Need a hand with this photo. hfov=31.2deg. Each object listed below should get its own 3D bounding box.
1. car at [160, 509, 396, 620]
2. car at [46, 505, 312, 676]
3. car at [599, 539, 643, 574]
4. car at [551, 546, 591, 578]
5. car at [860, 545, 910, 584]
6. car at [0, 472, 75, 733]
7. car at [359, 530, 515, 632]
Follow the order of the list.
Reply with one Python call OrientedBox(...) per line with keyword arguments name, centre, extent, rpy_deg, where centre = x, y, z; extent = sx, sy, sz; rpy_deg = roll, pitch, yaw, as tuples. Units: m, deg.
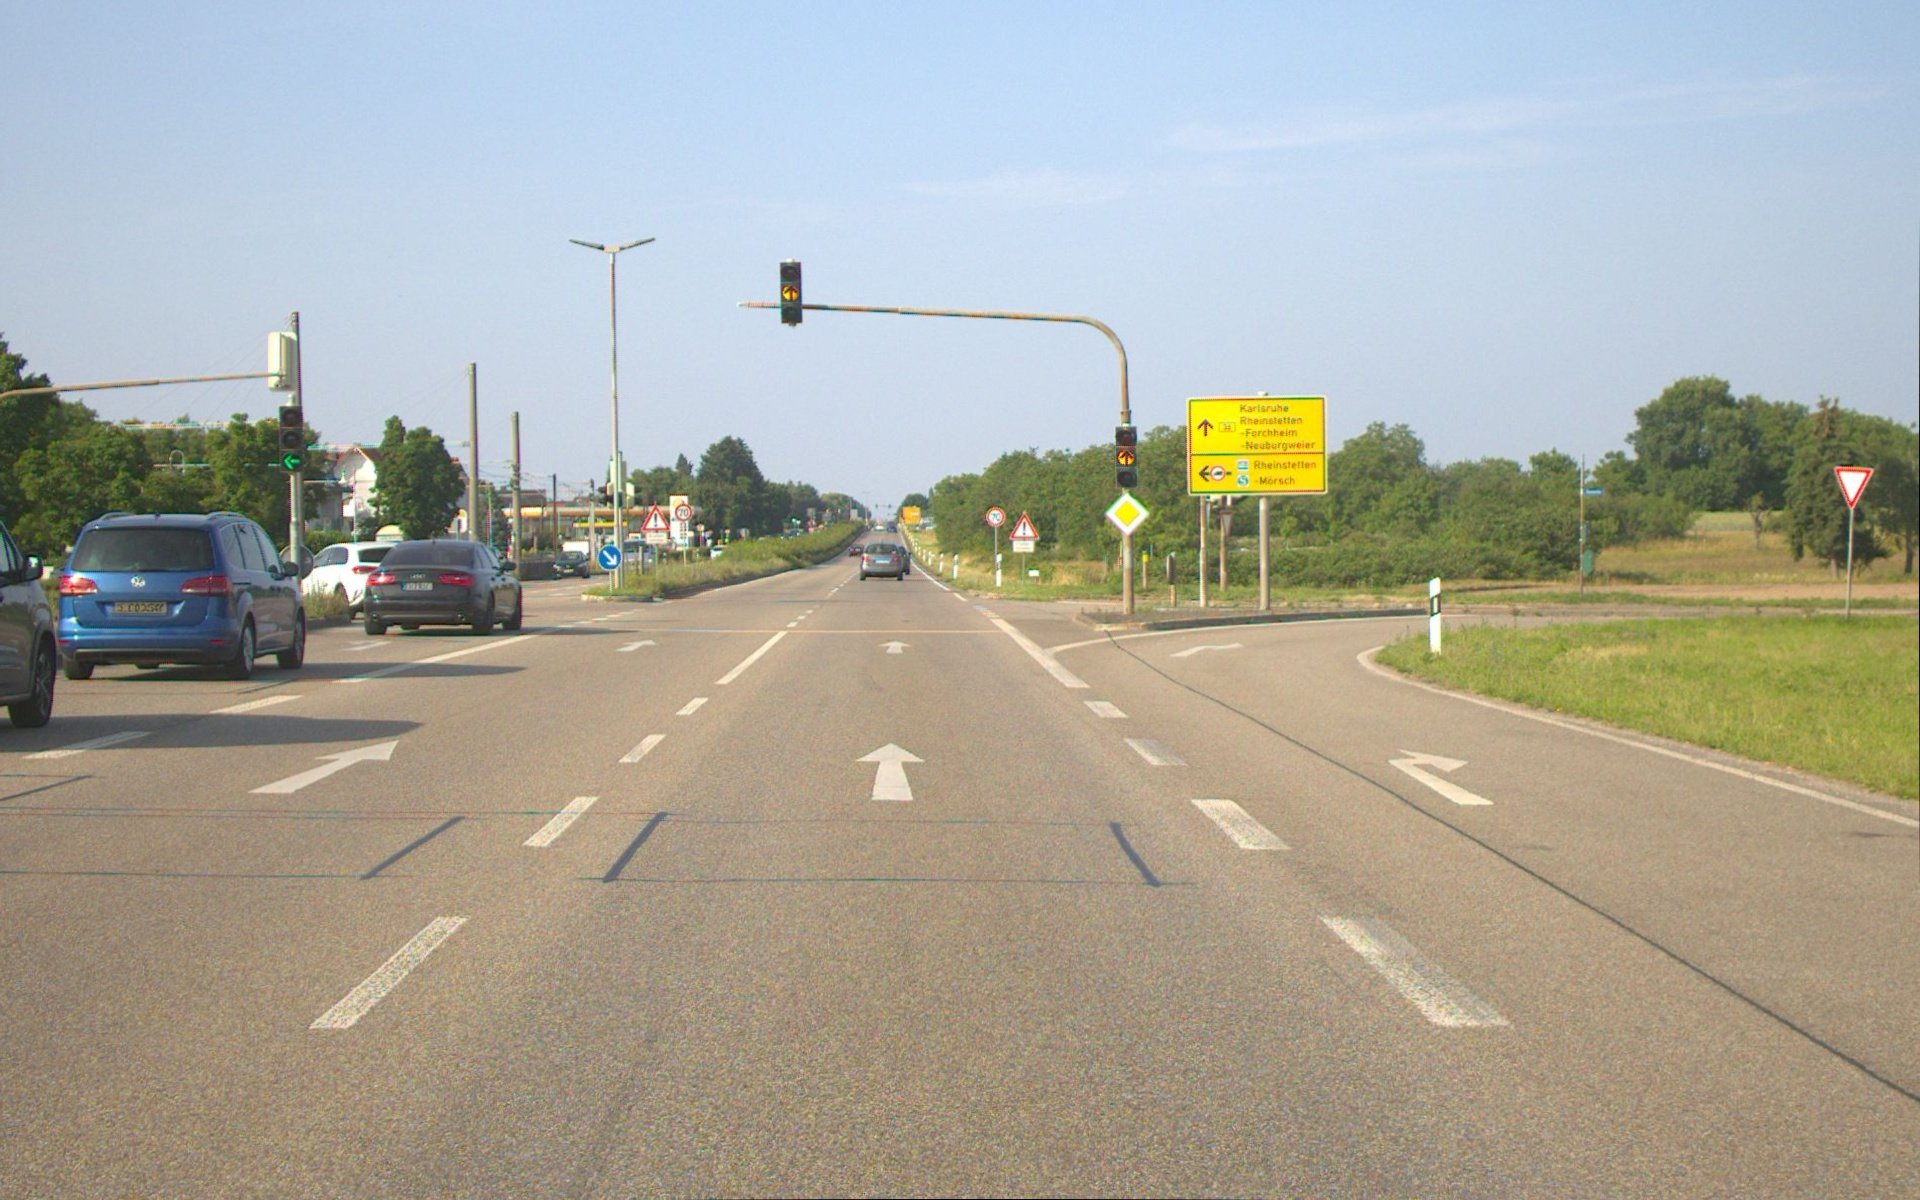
OrientedBox(name="car", centre=(-12.584, -0.671, 63.449), extent=(3.993, 2.007, 1.832), rpy_deg=(0, 1, 27))
OrientedBox(name="car", centre=(-8.068, -0.140, 35.898), extent=(1.770, 1.673, 4.520), rpy_deg=(0, 1, 0))
OrientedBox(name="car", centre=(-16.672, -2.141, 169.027), extent=(1.799, 1.617, 3.622), rpy_deg=(1, 0, 0))
OrientedBox(name="car", centre=(-20.117, -1.972, 177.949), extent=(1.688, 1.656, 3.758), rpy_deg=(0, 1, 0))
OrientedBox(name="car", centre=(-3.103, -1.483, 142.331), extent=(1.993, 1.546, 4.000), rpy_deg=(0, 1, 0))
OrientedBox(name="car", centre=(-7.665, 0.024, 24.182), extent=(1.732, 1.849, 4.520), rpy_deg=(0, 1, 0))
OrientedBox(name="car", centre=(-7.866, -0.315, 52.024), extent=(1.770, 1.466, 4.015), rpy_deg=(0, 1, 0))
